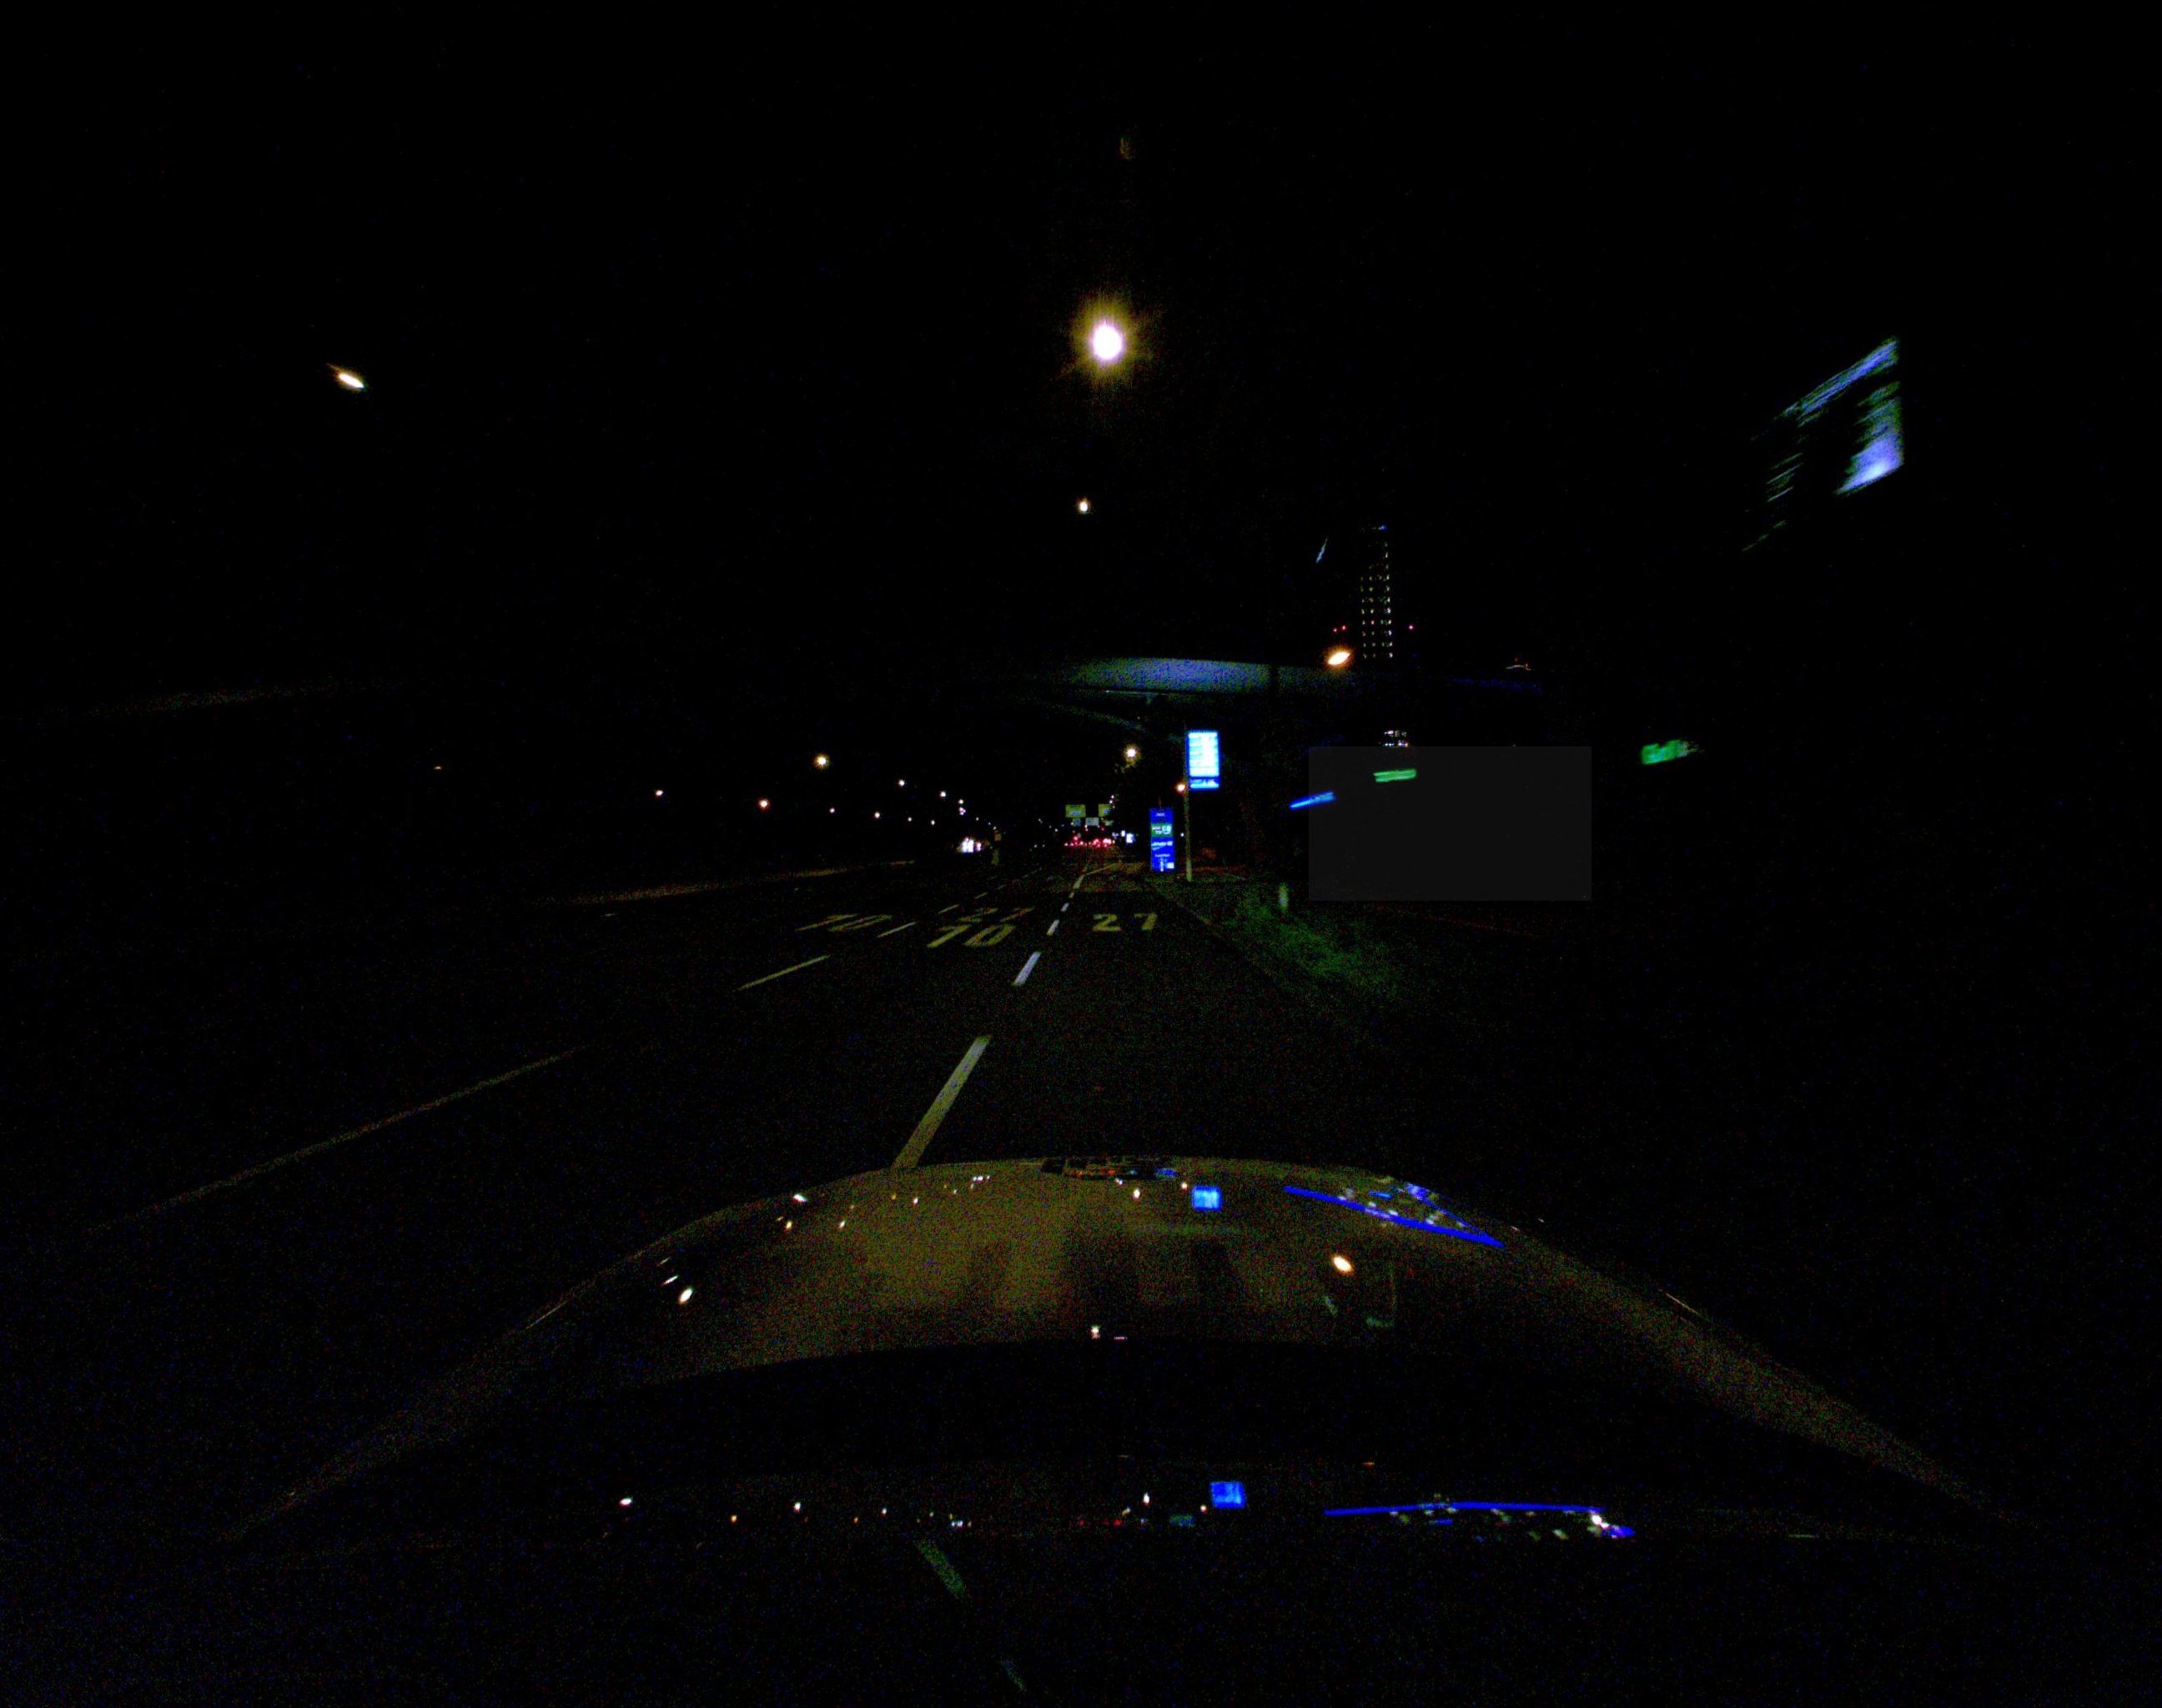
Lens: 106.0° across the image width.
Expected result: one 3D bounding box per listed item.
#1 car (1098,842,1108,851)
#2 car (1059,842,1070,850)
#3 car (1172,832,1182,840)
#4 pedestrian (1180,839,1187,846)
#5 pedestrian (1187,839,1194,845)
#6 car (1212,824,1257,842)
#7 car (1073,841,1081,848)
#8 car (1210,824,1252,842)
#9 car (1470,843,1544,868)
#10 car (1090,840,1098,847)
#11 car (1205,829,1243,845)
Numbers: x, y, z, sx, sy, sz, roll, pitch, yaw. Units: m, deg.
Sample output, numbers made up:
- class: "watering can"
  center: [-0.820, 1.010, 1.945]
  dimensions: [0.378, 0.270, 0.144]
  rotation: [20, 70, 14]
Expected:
- class: "car"
  center: [4.367, -1.501, 162.652]
  dimensions: [1.959, 1.711, 4.003]
  rotation: [0, 0, 3]
- class: "car"
  center: [-3.447, -1.648, 171.707]
  dimensions: [1.959, 1.711, 4.003]
  rotation: [0, 0, 3]
- class: "car"
  center: [19.753, -3.705, 167.085]
  dimensions: [1.882, 1.511, 3.644]
  rotation: [0, 0, 8]
- class: "pedestrian"
  center: [17.354, -1.969, 137.684]
  dimensions: [0.902, 1.038, 0.776]
  rotation: [-2, 0, 44]
- class: "pedestrian"
  center: [18.519, -1.979, 137.646]
  dimensions: [0.999, 1.008, 0.768]
  rotation: [0, -1, -15]
- class: "car"
  center: [15.471, -2.096, 82.205]
  dimensions: [4.103, 1.522, 1.823]
  rotation: [-3, -1, 2]
- class: "car"
  center: [-0.959, -2.305, 196.076]
  dimensions: [1.777, 1.711, 3.997]
  rotation: [0, 0, -2]
- class: "car"
  center: [15.570, -2.139, 84.555]
  dimensions: [3.971, 1.571, 1.739]
  rotation: [-3, -1, 2]
- class: "car"
  center: [25.015, 0.111, 47.976]
  dimensions: [1.922, 1.363, 4.331]
  rotation: [-1, 0, -3]
- class: "car"
  center: [3.404, -2.780, 215.732]
  dimensions: [1.996, 1.552, 4.299]
  rotation: [0, 0, 3]
- class: "car"
  center: [15.693, -1.887, 89.407]
  dimensions: [3.713, 1.489, 1.741]
  rotation: [-3, -1, -1]
